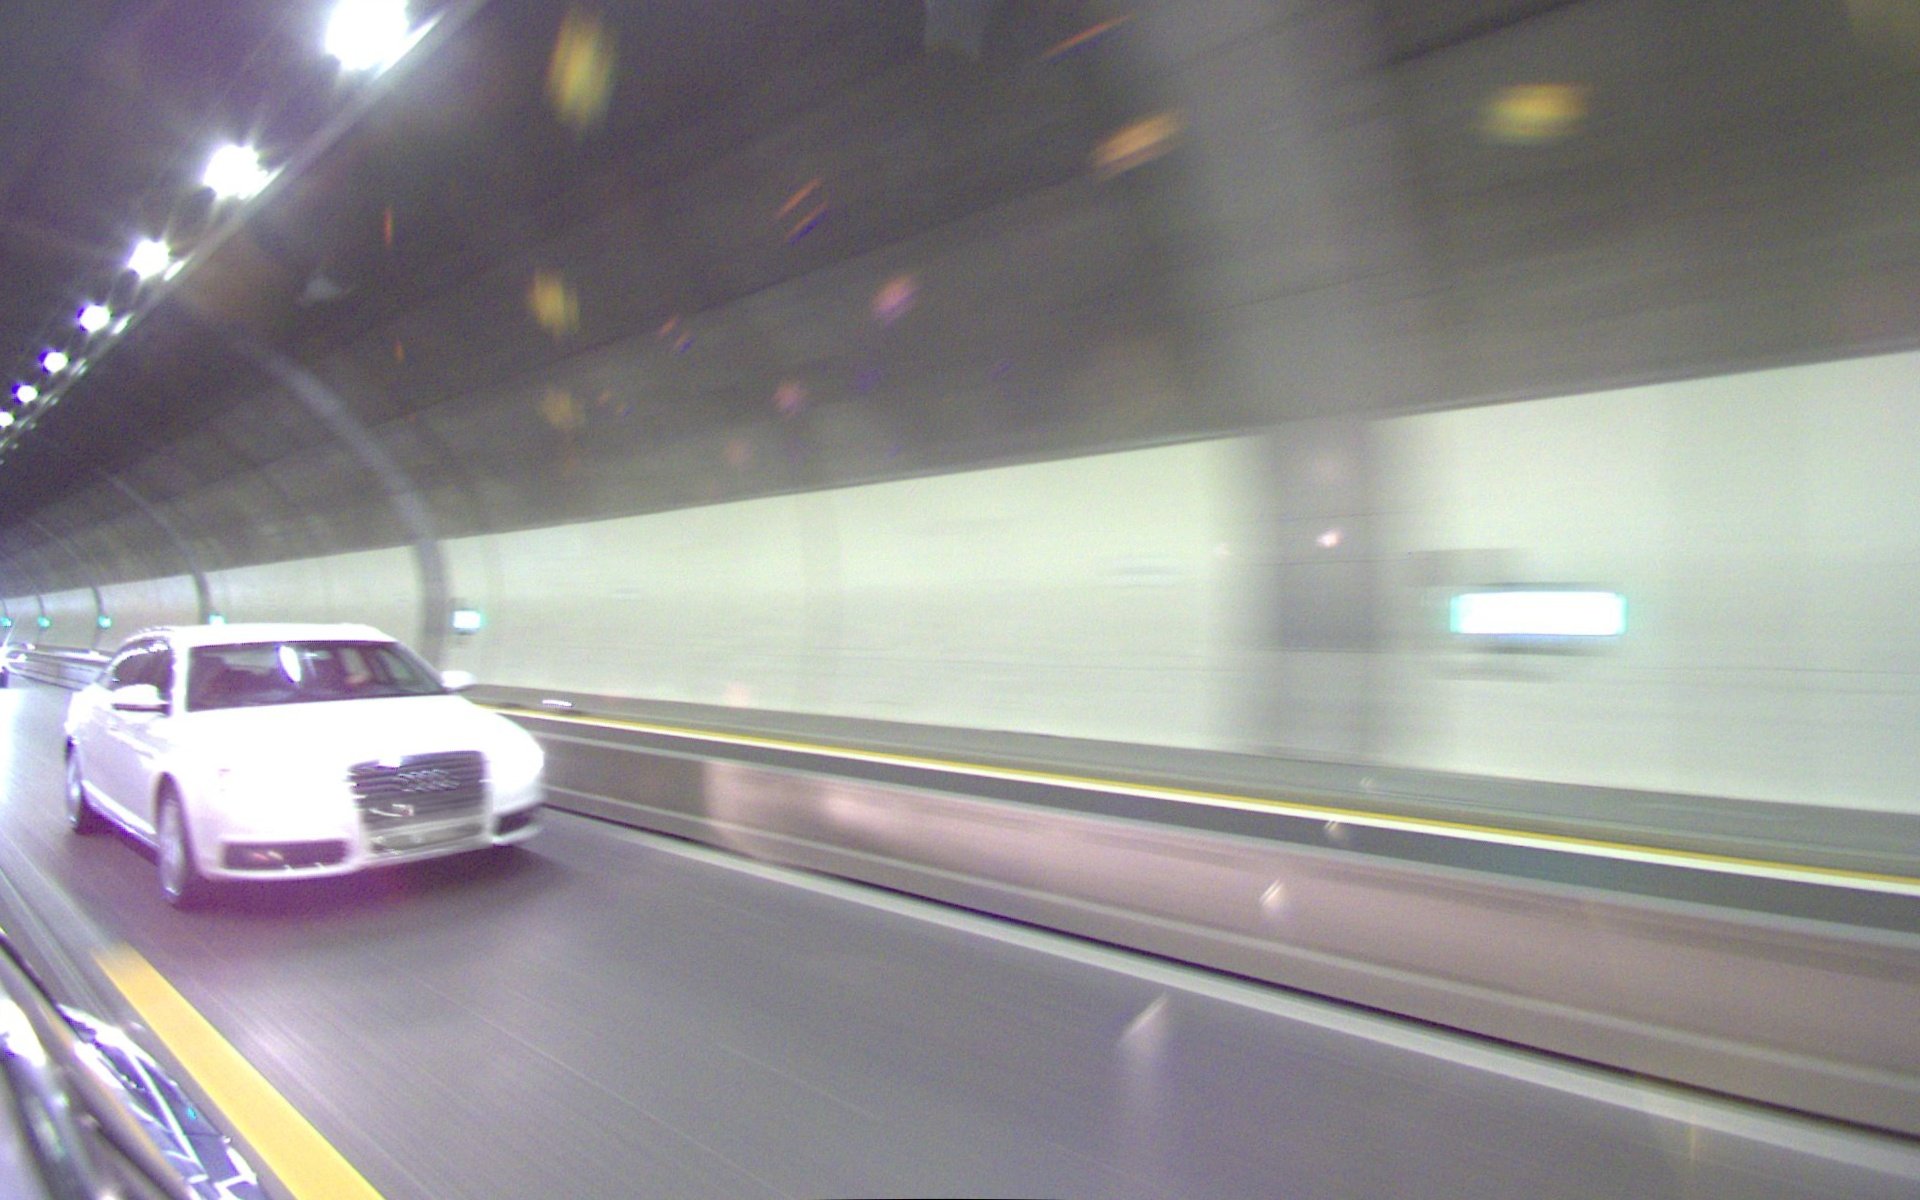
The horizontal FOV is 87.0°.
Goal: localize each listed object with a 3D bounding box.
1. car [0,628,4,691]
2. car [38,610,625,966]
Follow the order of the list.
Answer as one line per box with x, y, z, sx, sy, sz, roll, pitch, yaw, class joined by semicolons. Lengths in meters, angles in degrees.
-23.401;1.349;23.335;3.655;1.414;1.635;-1;-1;41;car
-4.364;0.871;6.614;4.940;1.496;1.884;-2;-2;41;car
